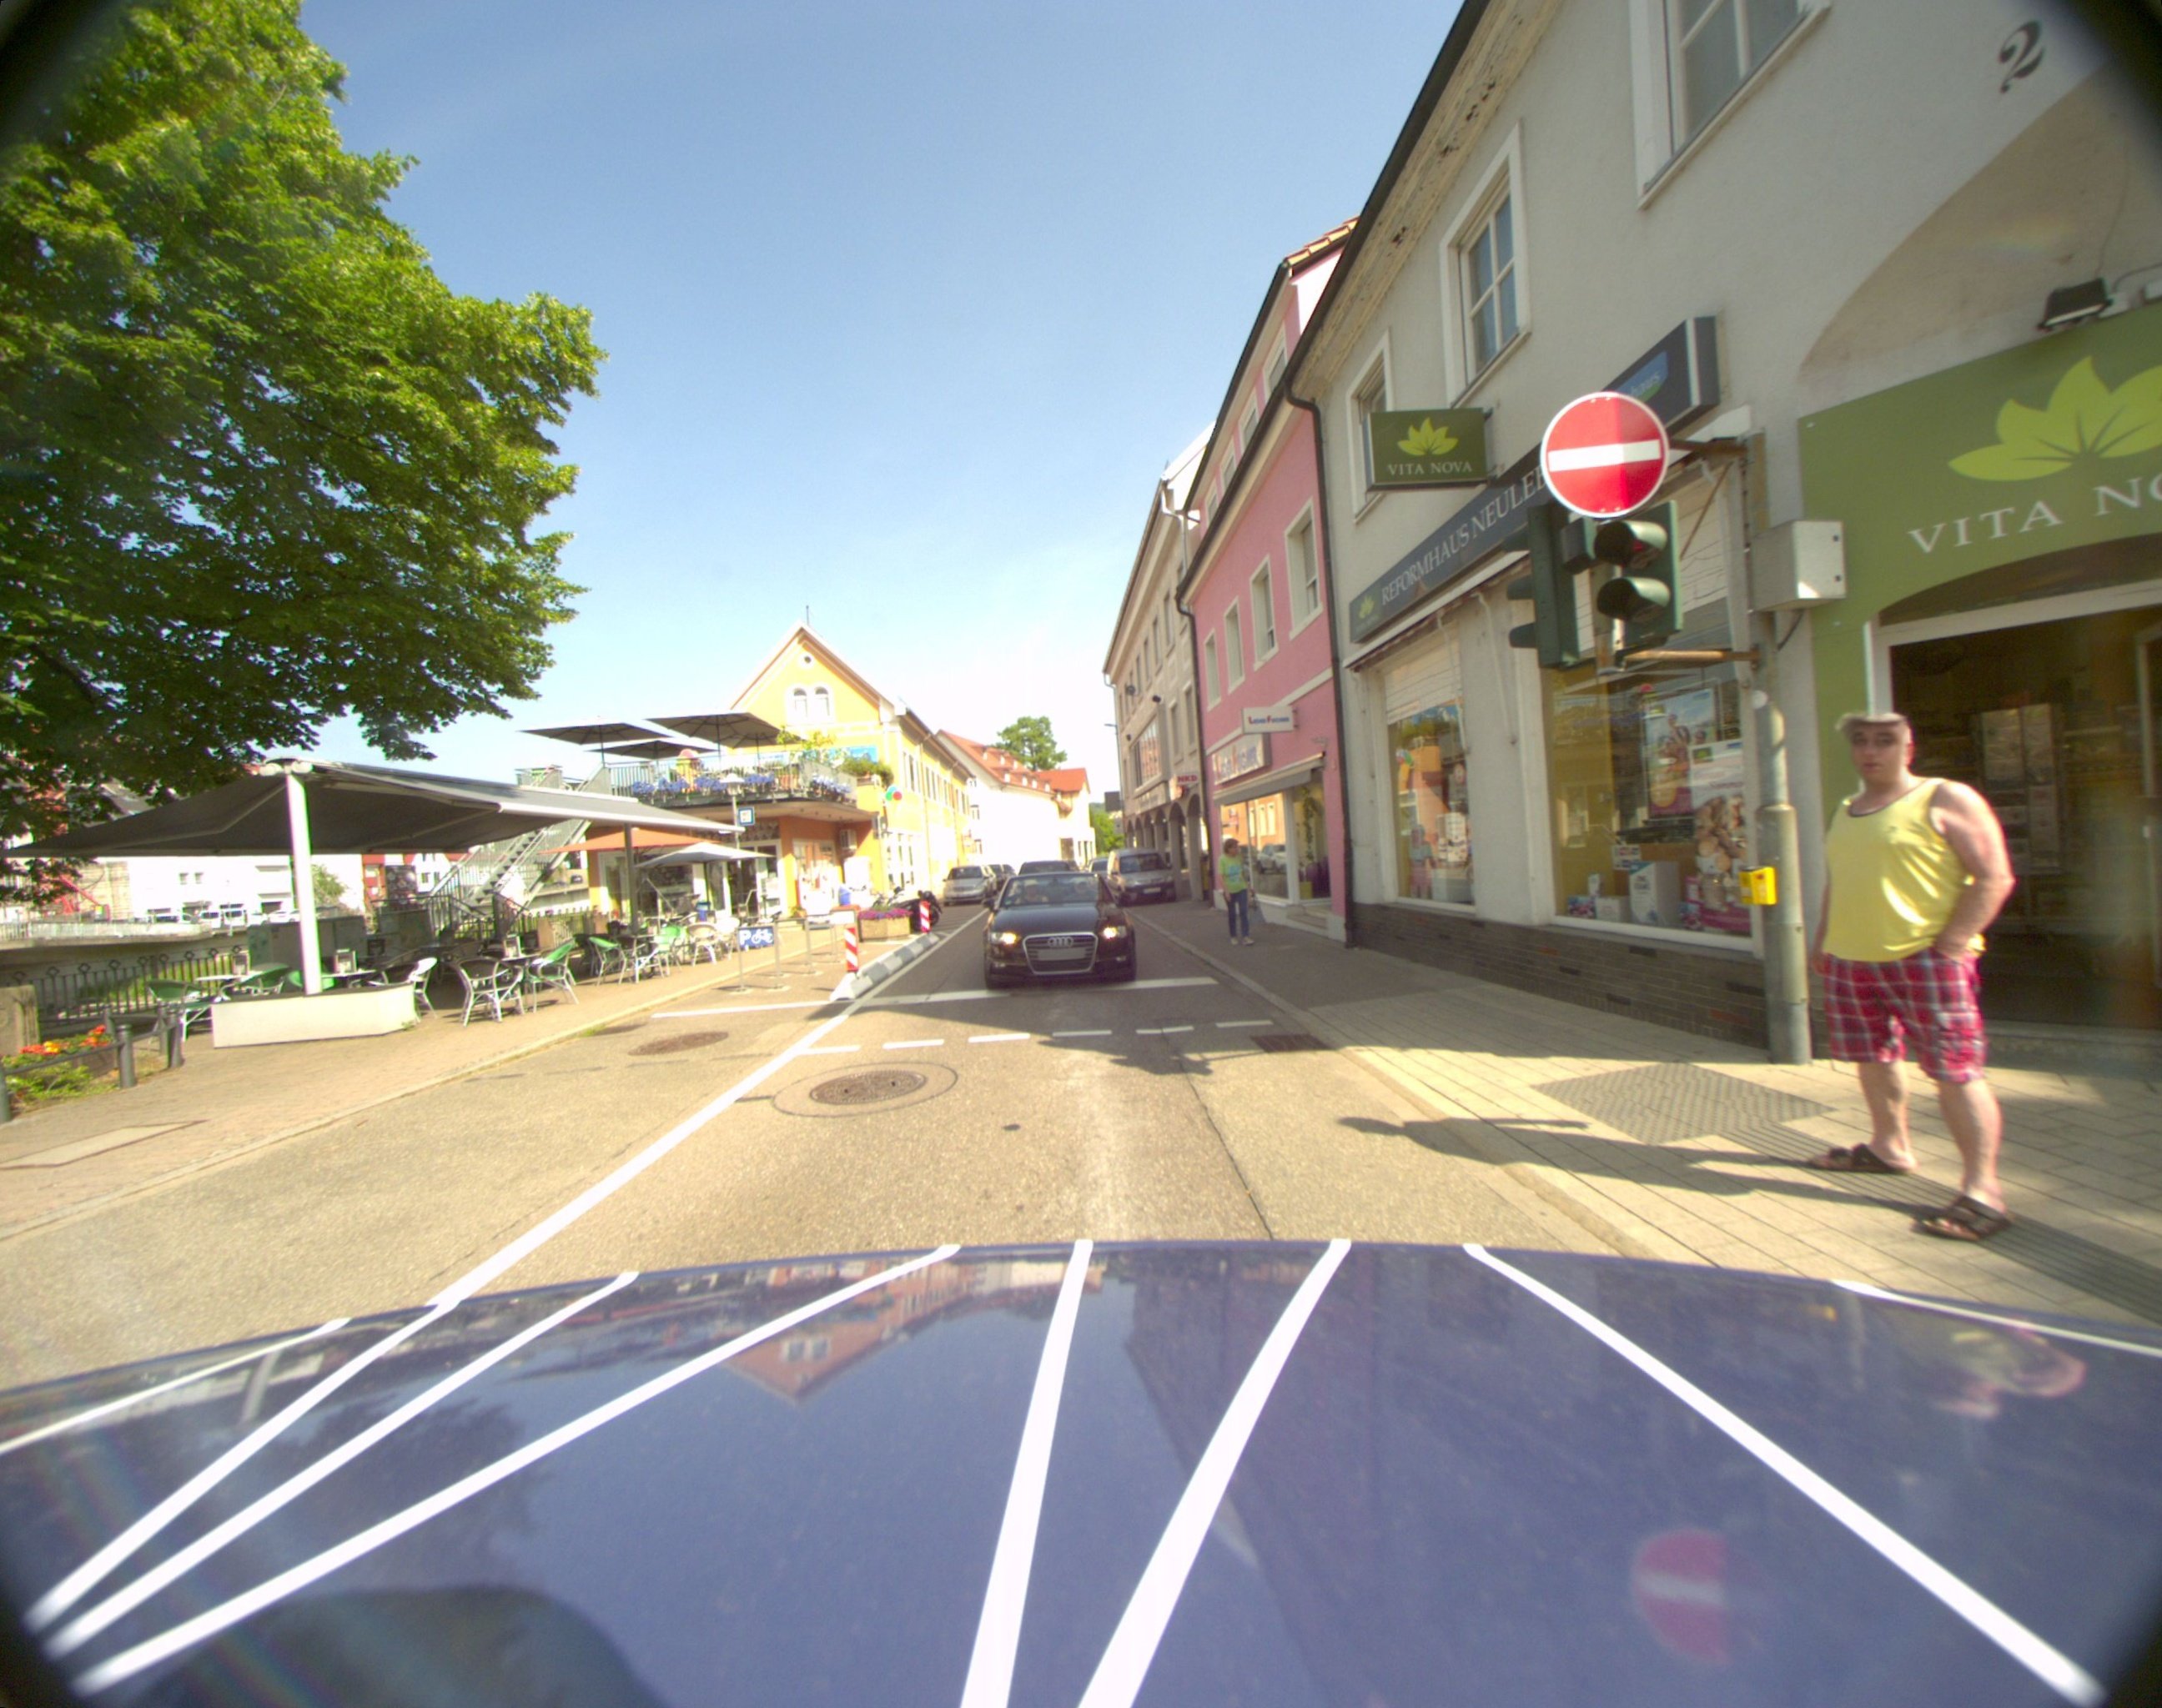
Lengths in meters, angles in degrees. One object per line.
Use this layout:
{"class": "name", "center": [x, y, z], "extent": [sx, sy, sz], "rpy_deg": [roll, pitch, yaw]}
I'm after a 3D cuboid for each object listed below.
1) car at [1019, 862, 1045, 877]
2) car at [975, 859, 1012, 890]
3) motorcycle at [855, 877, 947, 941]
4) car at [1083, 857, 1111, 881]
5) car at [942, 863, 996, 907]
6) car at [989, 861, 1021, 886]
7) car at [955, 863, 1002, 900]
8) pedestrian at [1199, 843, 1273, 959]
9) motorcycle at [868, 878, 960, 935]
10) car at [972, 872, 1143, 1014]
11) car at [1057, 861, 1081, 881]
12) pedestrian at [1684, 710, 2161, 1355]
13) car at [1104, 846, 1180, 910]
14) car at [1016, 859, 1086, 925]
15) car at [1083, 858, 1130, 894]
{"class": "car", "center": [-4.510, 1.444, 70.481], "extent": [1.526, 1.236, 4.037], "rpy_deg": [-3, 0, 9]}
{"class": "car", "center": [-5.133, 1.185, 45.117], "extent": [1.683, 1.636, 4.250], "rpy_deg": [-3, 0, -1]}
{"class": "motorcycle", "center": [-4.355, 1.291, 18.424], "extent": [1.903, 1.350, 0.915], "rpy_deg": [-3, 0, -37]}
{"class": "car", "center": [1.118, 1.035, 54.865], "extent": [1.769, 1.551, 3.970], "rpy_deg": [-3, 0, -1]}
{"class": "car", "center": [-4.639, 1.233, 32.136], "extent": [1.750, 1.587, 4.593], "rpy_deg": [-4, 0, -3]}
{"class": "car", "center": [-5.053, 1.265, 51.018], "extent": [1.683, 1.531, 4.186], "rpy_deg": [-3, 0, -1]}
{"class": "car", "center": [-4.966, 1.289, 37.151], "extent": [1.683, 1.549, 4.103], "rpy_deg": [-4, 0, -1]}
{"class": "pedestrian", "center": [2.330, 0.685, 11.526], "extent": [0.788, 1.622, 0.859], "rpy_deg": [-6, 1, 0]}
{"class": "motorcycle", "center": [-4.312, 1.336, 19.703], "extent": [2.095, 1.262, 0.927], "rpy_deg": [-3, 0, -42]}
{"class": "car", "center": [-0.279, 0.990, 10.169], "extent": [1.755, 1.348, 4.199], "rpy_deg": [-3, 0, -1]}
{"class": "car", "center": [-1.047, 1.466, 66.187], "extent": [1.682, 1.551, 3.343], "rpy_deg": [-3, 0, 5]}
{"class": "pedestrian", "center": [2.925, 0.514, 2.710], "extent": [1.019, 1.805, 0.909], "rpy_deg": [-8, 1, 40]}
{"class": "car", "center": [1.837, 0.711, 24.263], "extent": [1.711, 1.729, 4.144], "rpy_deg": [-5, 0, -3]}
{"class": "car", "center": [-0.781, 0.953, 21.035], "extent": [1.683, 1.551, 3.970], "rpy_deg": [-3, 0, -1]}
{"class": "car", "center": [1.136, 0.961, 35.431], "extent": [1.808, 1.461, 4.454], "rpy_deg": [-4, 0, -2]}
